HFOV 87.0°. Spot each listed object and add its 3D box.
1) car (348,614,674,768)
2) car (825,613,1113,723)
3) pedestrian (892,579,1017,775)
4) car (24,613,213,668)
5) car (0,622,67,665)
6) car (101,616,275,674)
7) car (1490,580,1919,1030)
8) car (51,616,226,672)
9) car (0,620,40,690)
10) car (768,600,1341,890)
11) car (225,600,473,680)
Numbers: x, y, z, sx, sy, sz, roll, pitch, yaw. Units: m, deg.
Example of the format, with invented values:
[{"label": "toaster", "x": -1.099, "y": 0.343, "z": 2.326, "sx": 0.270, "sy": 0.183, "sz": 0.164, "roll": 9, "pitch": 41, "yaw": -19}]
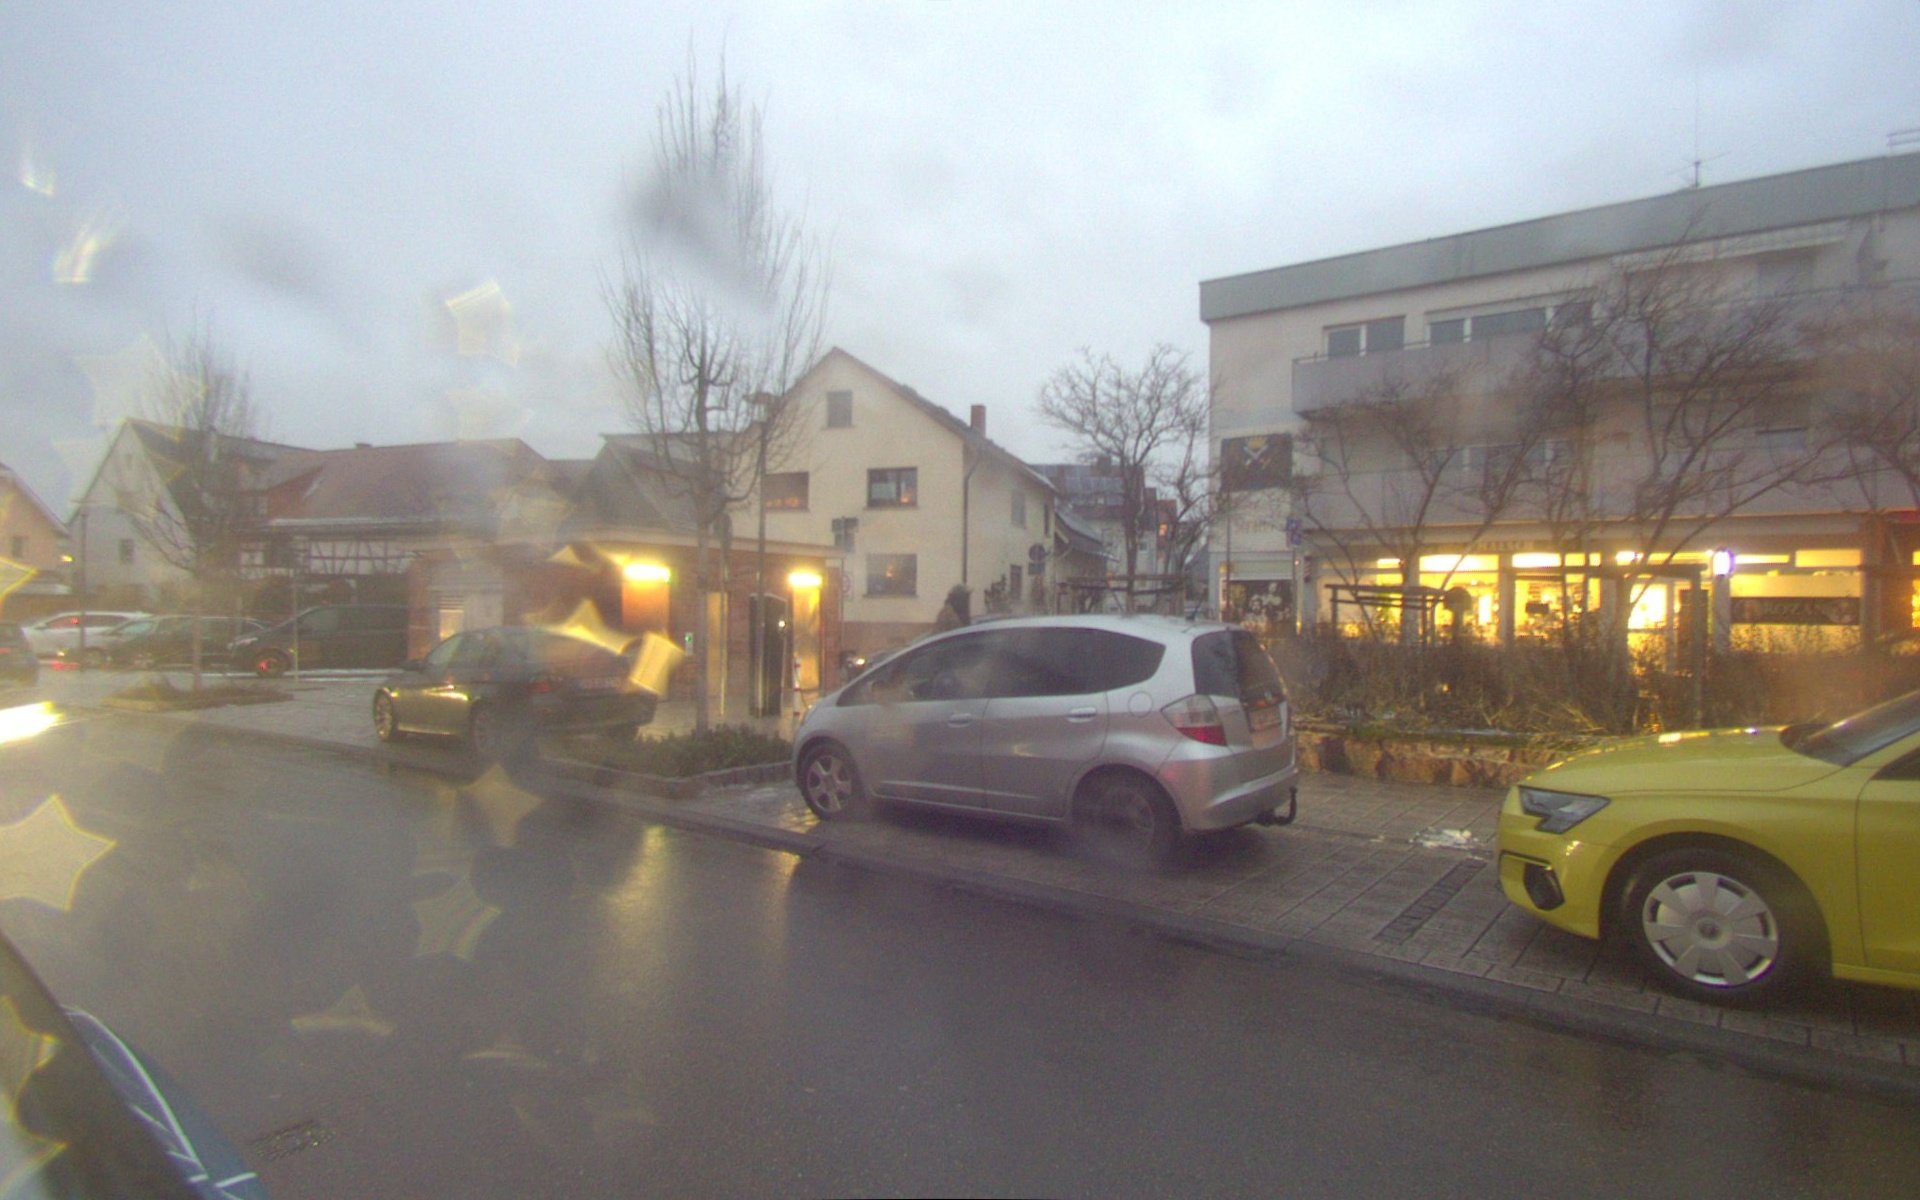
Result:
[{"label": "car", "x": -5.448, "y": 0.934, "z": 12.015, "sx": 4.454, "sy": 1.483, "sz": 1.729, "roll": -1, "pitch": 0, "yaw": 39}, {"label": "car", "x": 0.158, "y": 0.995, "z": 15.377, "sx": 4.018, "sy": 1.488, "sz": 1.745, "roll": 2, "pitch": -3, "yaw": -26}, {"label": "pedestrian", "x": -0.065, "y": 0.751, "z": 10.359, "sx": 1.060, "sy": 1.881, "sz": 0.746, "roll": -1, "pitch": -2, "yaw": 41}, {"label": "car", "x": -27.228, "y": 1.290, "z": 32.888, "sx": 4.583, "sy": 1.666, "sz": 1.991, "roll": 1, "pitch": -2, "yaw": -41}, {"label": "car", "x": -33.931, "y": 1.517, "z": 35.321, "sx": 1.758, "sy": 1.470, "sz": 4.015, "roll": -1, "pitch": -2, "yaw": 44}, {"label": "car", "x": -22.537, "y": 1.265, "z": 29.705, "sx": 3.934, "sy": 1.541, "sz": 2.004, "roll": 0, "pitch": -1, "yaw": -37}, {"label": "car", "x": 4.464, "y": 0.678, "z": 3.528, "sx": 4.341, "sy": 1.527, "sz": 1.730, "roll": -1, "pitch": 0, "yaw": 42}, {"label": "car", "x": -25.110, "y": 1.333, "z": 31.051, "sx": 4.049, "sy": 1.594, "sz": 1.723, "roll": 2, "pitch": -3, "yaw": -41}, {"label": "car", "x": -23.036, "y": 1.248, "z": 23.159, "sx": 3.658, "sy": 1.547, "sz": 1.822, "roll": -1, "pitch": -1, "yaw": 28}, {"label": "car", "x": 0.530, "y": 0.799, "z": 7.223, "sx": 3.768, "sy": 1.528, "sz": 1.676, "roll": -1, "pitch": 0, "yaw": 38}, {"label": "car", "x": -15.789, "y": 1.053, "z": 26.355, "sx": 5.307, "sy": 1.900, "sz": 2.079, "roll": 2, "pitch": -3, "yaw": -34}]
